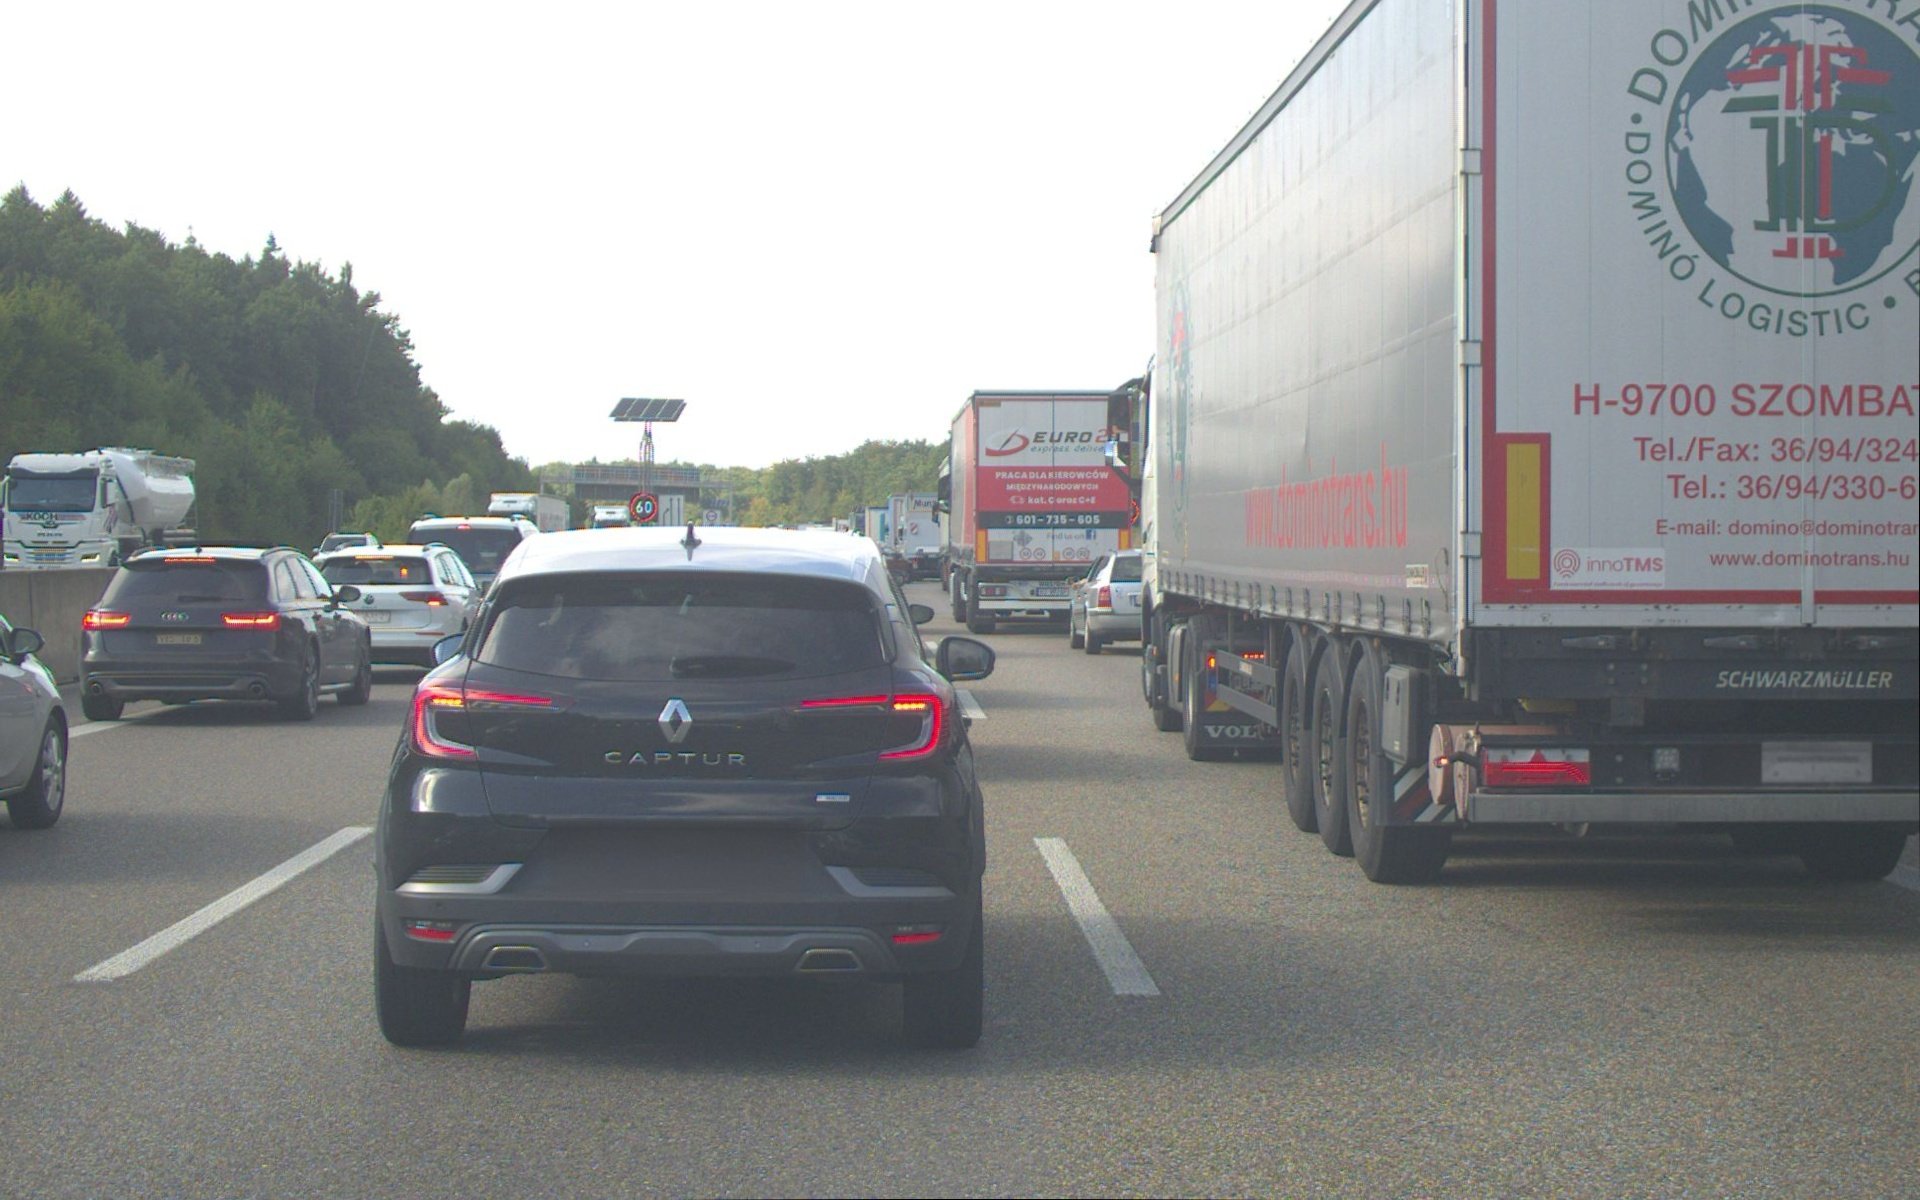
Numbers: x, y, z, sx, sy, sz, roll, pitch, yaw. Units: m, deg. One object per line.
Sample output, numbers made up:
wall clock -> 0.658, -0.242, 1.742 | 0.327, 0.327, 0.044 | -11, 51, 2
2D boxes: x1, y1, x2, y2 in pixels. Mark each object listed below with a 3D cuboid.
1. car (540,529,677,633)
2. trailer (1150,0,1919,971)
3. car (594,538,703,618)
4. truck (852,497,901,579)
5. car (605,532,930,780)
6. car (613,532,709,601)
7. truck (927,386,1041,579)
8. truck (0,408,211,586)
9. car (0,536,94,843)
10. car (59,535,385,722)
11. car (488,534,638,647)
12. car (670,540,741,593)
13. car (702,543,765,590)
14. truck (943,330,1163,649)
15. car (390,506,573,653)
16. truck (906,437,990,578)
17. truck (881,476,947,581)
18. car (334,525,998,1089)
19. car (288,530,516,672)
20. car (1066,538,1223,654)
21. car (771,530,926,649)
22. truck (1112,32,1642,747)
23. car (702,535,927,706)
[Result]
car -> -6.051, -0.332, 59.525 | 1.993, 1.716, 4.000 | 1, 1, -1
trailer -> 3.088, -1.227, 17.967 | 3.002, 4.645, 13.291 | 1, 1, -2
car -> -6.546, -0.466, 72.585 | 1.993, 1.607, 4.000 | 1, 1, -1
truck -> -5.746, -4.231, 238.571 | 3.166, 5.486, 12.738 | 1, 1, -1
car -> -1.223, 0.329, 23.318 | 1.993, 1.509, 4.000 | 1, 1, -1
car -> -7.111, -0.820, 82.187 | 1.993, 1.607, 4.000 | 1, 1, -1
truck -> 0.623, -3.442, 104.999 | 3.166, 5.486, 12.738 | 1, 1, -1
truck -> -22.794, -2.617, 91.844 | 2.932, 4.339, 13.912 | 1, 1, -2
car -> -5.469, 0.436, 16.379 | 1.747, 1.460, 4.041 | 0, 1, -1
car -> -6.230, 0.182, 29.548 | 1.843, 1.451, 4.748 | 1, 1, -1
car -> -6.027, -0.152, 52.558 | 1.855, 1.635, 3.926 | 1, 1, 0
car -> -7.957, -1.072, 107.752 | 1.993, 1.607, 4.000 | 1, 1, -1
car -> -7.862, -1.182, 119.693 | 1.993, 1.607, 4.000 | 1, 1, -1
truck -> 1.455, -1.821, 61.149 | 3.365, 5.027, 12.738 | 1, 1, -1
car -> -6.153, -0.272, 44.651 | 1.911, 1.783, 4.418 | 1, 1, -2
truck -> -0.408, -3.685, 141.267 | 3.166, 5.486, 12.737 | 1, 1, 1
truck -> -2.338, -3.580, 176.343 | 3.166, 5.142, 12.738 | 1, 1, -1
car -> -0.790, 0.540, 11.482 | 1.804, 1.547, 4.000 | 0, 1, 1
car -> -6.045, -0.011, 37.682 | 1.804, 1.456, 4.309 | 0, 1, 0
car -> 2.521, -0.071, 47.857 | 1.804, 1.527, 3.926 | 1, 1, -2
car -> -1.479, -0.159, 46.555 | 1.993, 1.509, 4.000 | 1, 1, -1
truck -> 2.864, -1.428, 25.508 | 2.997, 4.651, 5.940 | 0, 1, -2
car -> -1.339, 0.167, 32.893 | 1.993, 1.509, 4.000 | 1, 1, -1
